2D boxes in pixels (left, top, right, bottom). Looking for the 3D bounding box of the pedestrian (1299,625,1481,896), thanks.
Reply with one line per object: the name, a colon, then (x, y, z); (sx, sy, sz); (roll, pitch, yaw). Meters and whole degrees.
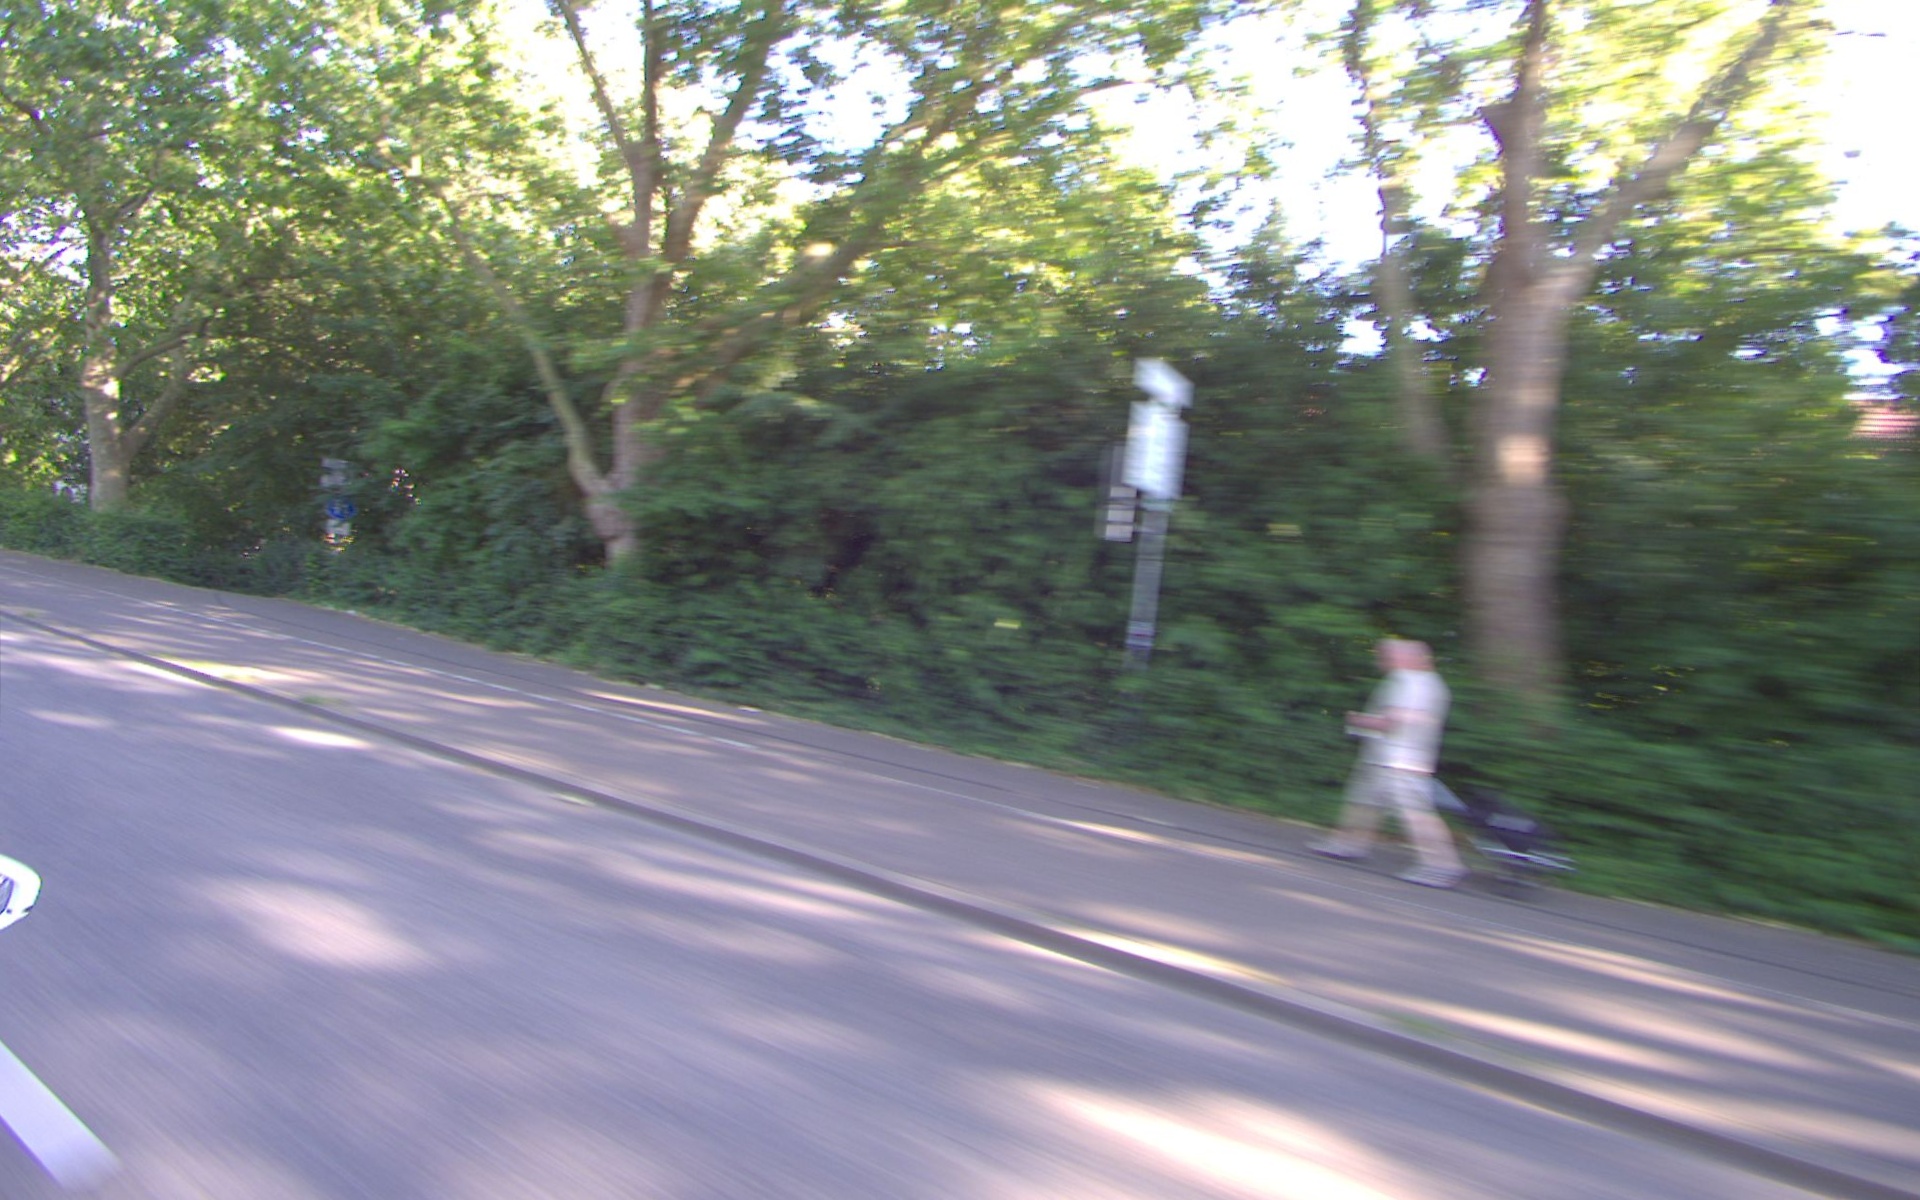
pedestrian: (2.982, 1.053, 6.974); (0.912, 1.657, 0.648); (7, 2, 32)
